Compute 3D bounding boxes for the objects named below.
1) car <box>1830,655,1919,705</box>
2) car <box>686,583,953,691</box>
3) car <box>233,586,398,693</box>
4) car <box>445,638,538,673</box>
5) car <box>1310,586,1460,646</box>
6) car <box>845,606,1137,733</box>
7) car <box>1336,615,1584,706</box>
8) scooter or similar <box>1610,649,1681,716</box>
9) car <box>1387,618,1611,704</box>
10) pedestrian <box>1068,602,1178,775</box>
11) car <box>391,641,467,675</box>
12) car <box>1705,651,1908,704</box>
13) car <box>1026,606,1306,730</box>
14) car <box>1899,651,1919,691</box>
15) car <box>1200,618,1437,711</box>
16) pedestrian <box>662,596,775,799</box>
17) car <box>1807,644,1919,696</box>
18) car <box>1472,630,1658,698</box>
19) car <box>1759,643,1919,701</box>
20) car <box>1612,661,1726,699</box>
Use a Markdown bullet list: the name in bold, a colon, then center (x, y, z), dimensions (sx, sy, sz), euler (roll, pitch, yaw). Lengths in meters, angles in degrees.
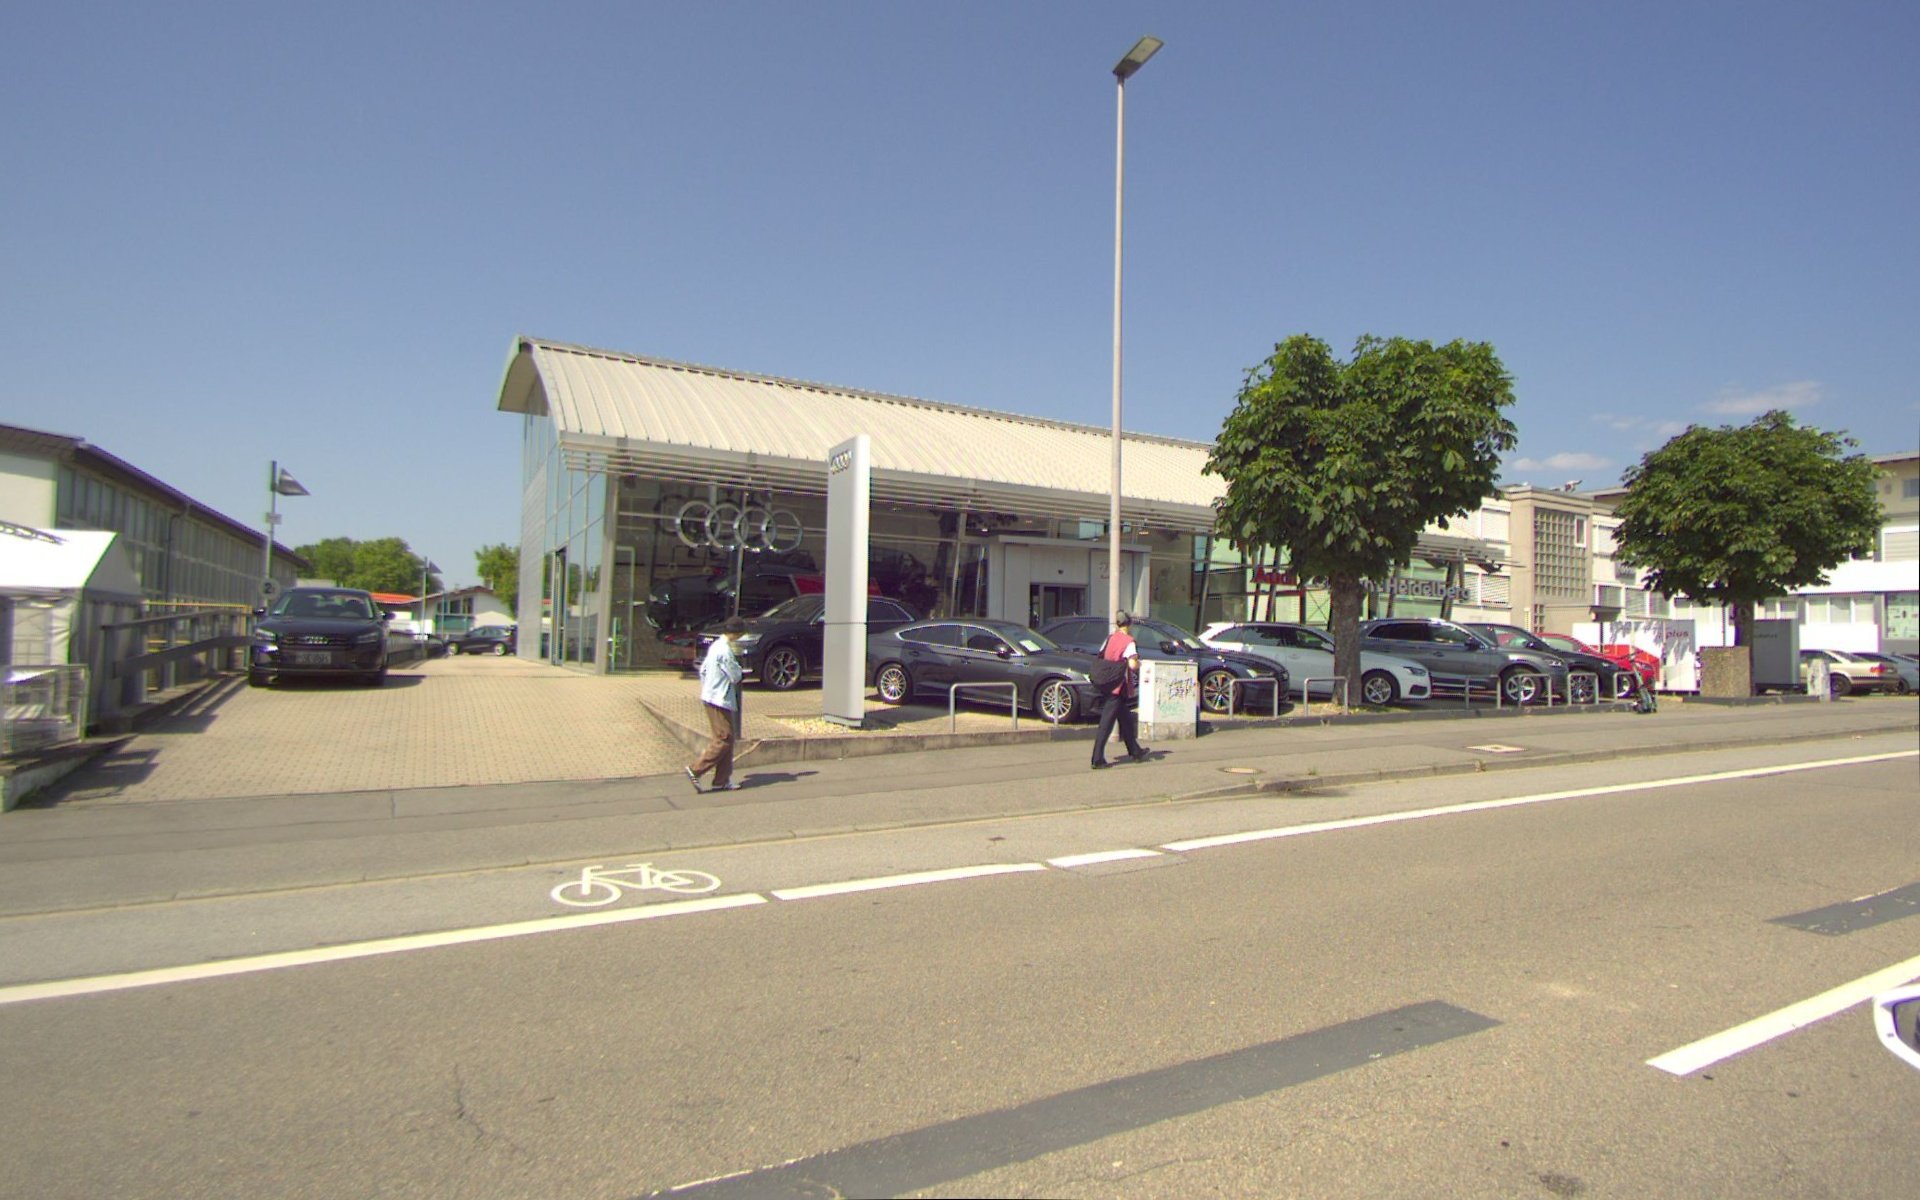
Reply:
- **car**: center (33.028, 2.857, 34.780), dimensions (1.839, 1.510, 3.964), euler (5, 0, -32)
- **car**: center (-2.516, 0.685, 18.922), dimensions (4.702, 1.742, 1.973), euler (3, 0, -45)
- **car**: center (-10.546, 0.656, 16.716), dimensions (1.873, 1.545, 3.973), euler (2, -2, -27)
- **car**: center (-23.991, 2.808, 51.514), dimensions (3.919, 1.661, 2.001), euler (0, -2, 13)
- **car**: center (13.171, 0.529, 31.200), dimensions (3.935, 1.706, 1.993), euler (1, -2, -16)
- **car**: center (0.481, 1.010, 15.748), dimensions (4.083, 1.478, 1.906), euler (5, 0, 26)
- **car**: center (10.418, 1.215, 21.219), dimensions (4.494, 1.719, 1.858), euler (0, -2, 26)
- **scooter or similar**: center (13.646, 1.625, 19.993), dimensions (1.477, 1.264, 0.738), euler (2, -2, -37)
- **car**: center (12.419, 1.355, 23.430), dimensions (4.397, 1.730, 1.909), euler (1, -1, 26)
- **pedestrian**: center (1.879, 0.995, 11.605), dimensions (1.035, 1.892, 0.729), euler (2, -3, -31)
- **car**: center (-33.710, 3.658, 63.816), dimensions (3.919, 2.040, 2.001), euler (0, -2, 13)
- **car**: center (26.387, 2.373, 31.486), dimensions (1.879, 1.476, 4.502), euler (2, -3, -30)
- **car**: center (3.581, 1.074, 17.566), dimensions (4.399, 1.631, 1.963), euler (3, 4, 26)
- **car**: center (39.153, 2.760, 38.515), dimensions (1.974, 1.579, 4.273), euler (2, -3, -32)
- **car**: center (6.933, 1.195, 19.441), dimensions (4.124, 1.514, 1.873), euler (1, -2, 26)
- **pedestrian**: center (-2.367, 0.926, 9.814), dimensions (0.900, 1.872, 0.720), euler (2, -3, -28)
- **car**: center (30.857, 2.367, 33.176), dimensions (1.839, 1.462, 3.966), euler (5, 0, -31)
- **car**: center (15.327, 1.571, 25.627), dimensions (3.929, 1.570, 1.856), euler (0, -2, 31)
- **car**: center (28.664, 2.301, 32.601), dimensions (1.805, 1.463, 3.866), euler (5, 0, -33)
- **car**: center (33.041, 3.700, 46.909), dimensions (1.837, 1.566, 3.968), euler (2, -2, -30)
